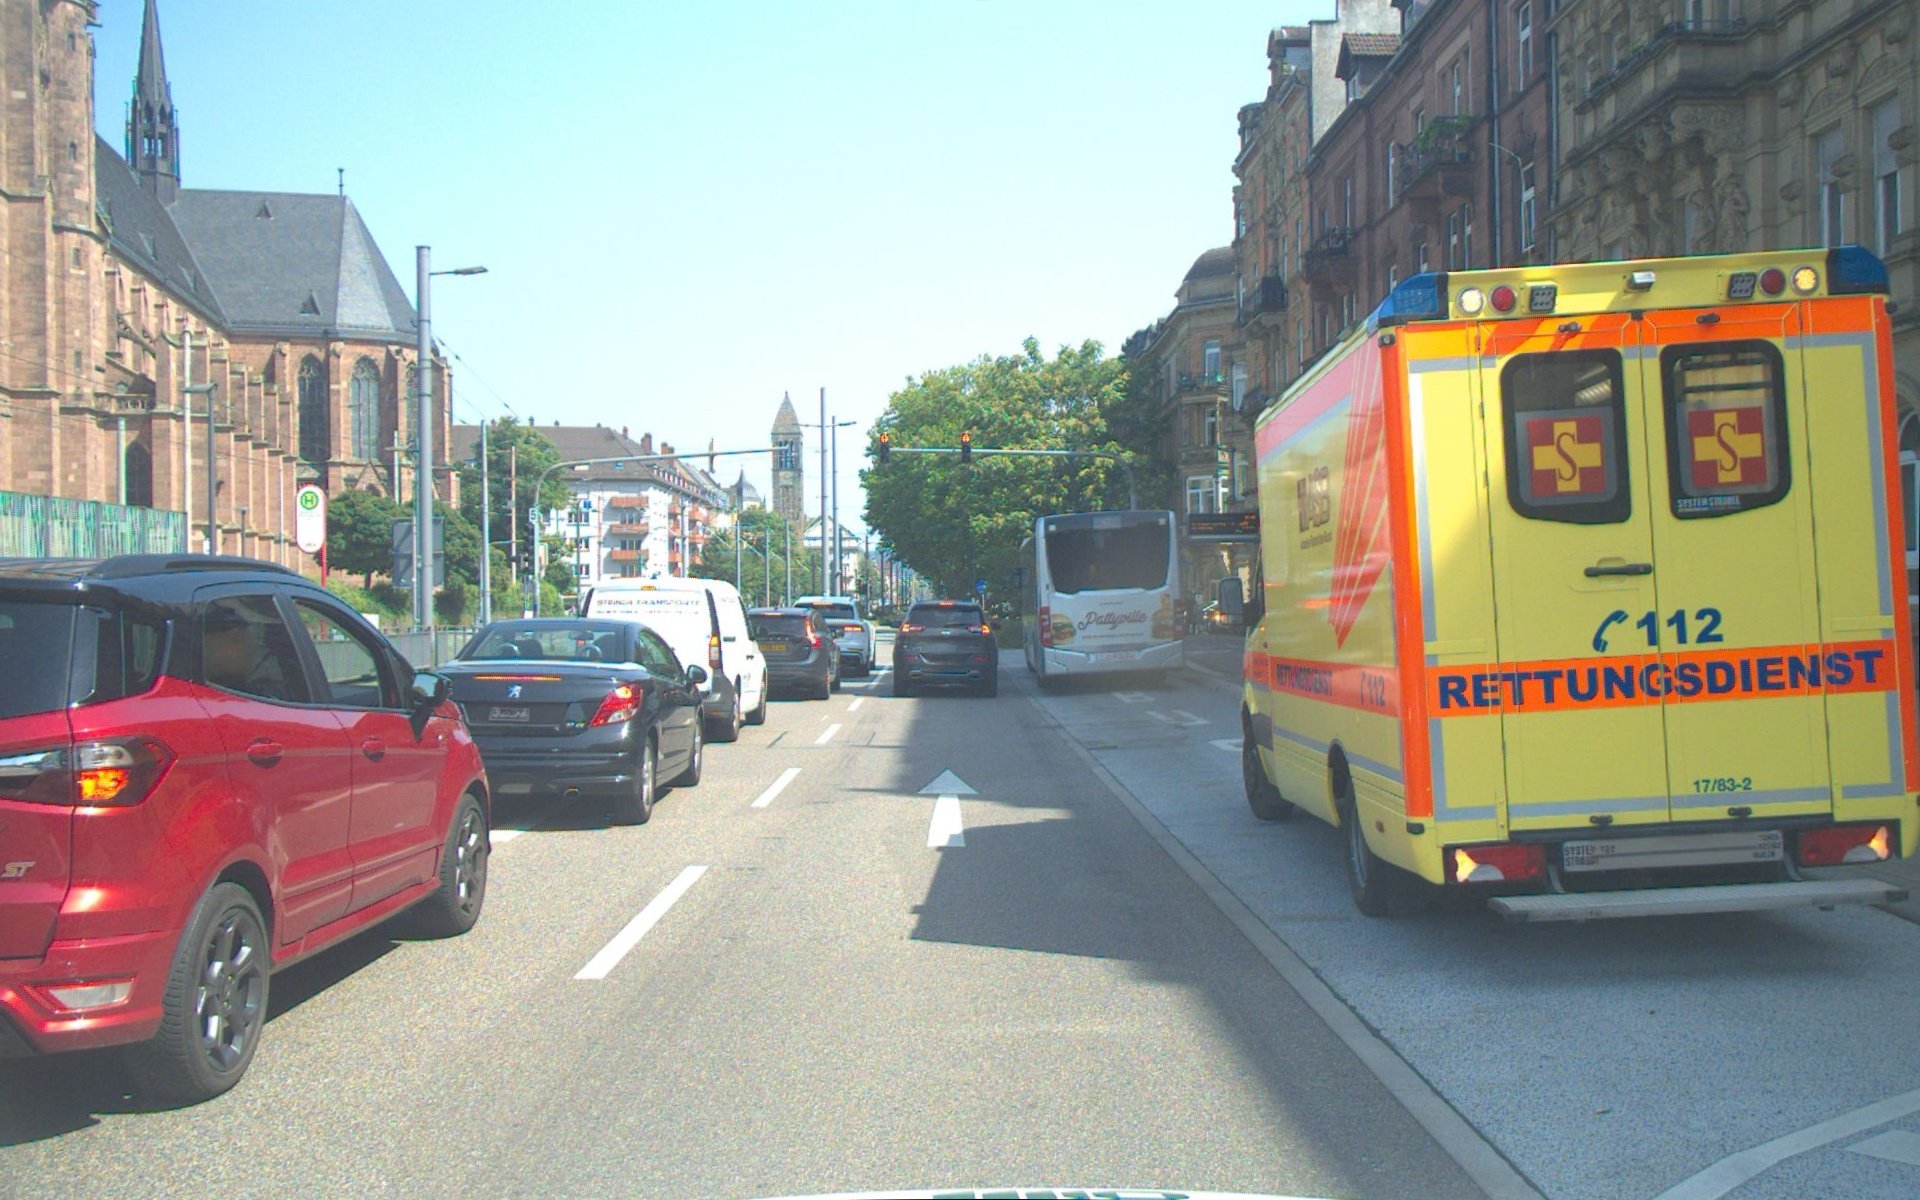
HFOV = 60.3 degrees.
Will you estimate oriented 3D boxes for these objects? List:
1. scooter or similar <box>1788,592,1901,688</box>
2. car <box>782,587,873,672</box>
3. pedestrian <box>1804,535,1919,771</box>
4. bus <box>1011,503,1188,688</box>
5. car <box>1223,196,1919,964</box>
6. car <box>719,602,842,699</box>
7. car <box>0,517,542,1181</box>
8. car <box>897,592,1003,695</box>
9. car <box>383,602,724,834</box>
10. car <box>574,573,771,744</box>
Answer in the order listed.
[{"bbox_3d":[11.680,0.514,21.872,0.505,1.217,1.297,-1,0,-19],"label":"scooter or similar"},{"bbox_3d":[-2.836,0.637,35.981,1.754,1.728,3.998,-1,-1,-2],"label":"car"},{"bbox_3d":[6.698,0.379,12.302,0.683,1.696,0.602,-2,0,25],"label":"pedestrian"},{"bbox_3d":[2.542,-0.076,34.177,2.482,3.085,12.434,-1,0,0],"label":"bus"},{"bbox_3d":[2.982,-0.091,9.283,2.251,2.939,5.601,-2,0,2],"label":"car"},{"bbox_3d":[-2.980,0.828,28.160,1.754,1.498,3.998,-1,-1,-2],"label":"car"},{"bbox_3d":[-2.990,0.661,6.166,1.726,1.646,4.082,-1,-1,1],"label":"car"},{"bbox_3d":[-0.229,0.752,29.595,1.754,1.707,3.998,-1,-1,-2],"label":"car"},{"bbox_3d":[-2.924,0.767,12.749,1.754,1.456,3.998,-1,0,-2],"label":"car"},{"bbox_3d":[-3.326,0.656,19.811,1.754,1.811,3.998,-1,-1,-2],"label":"car"}]
